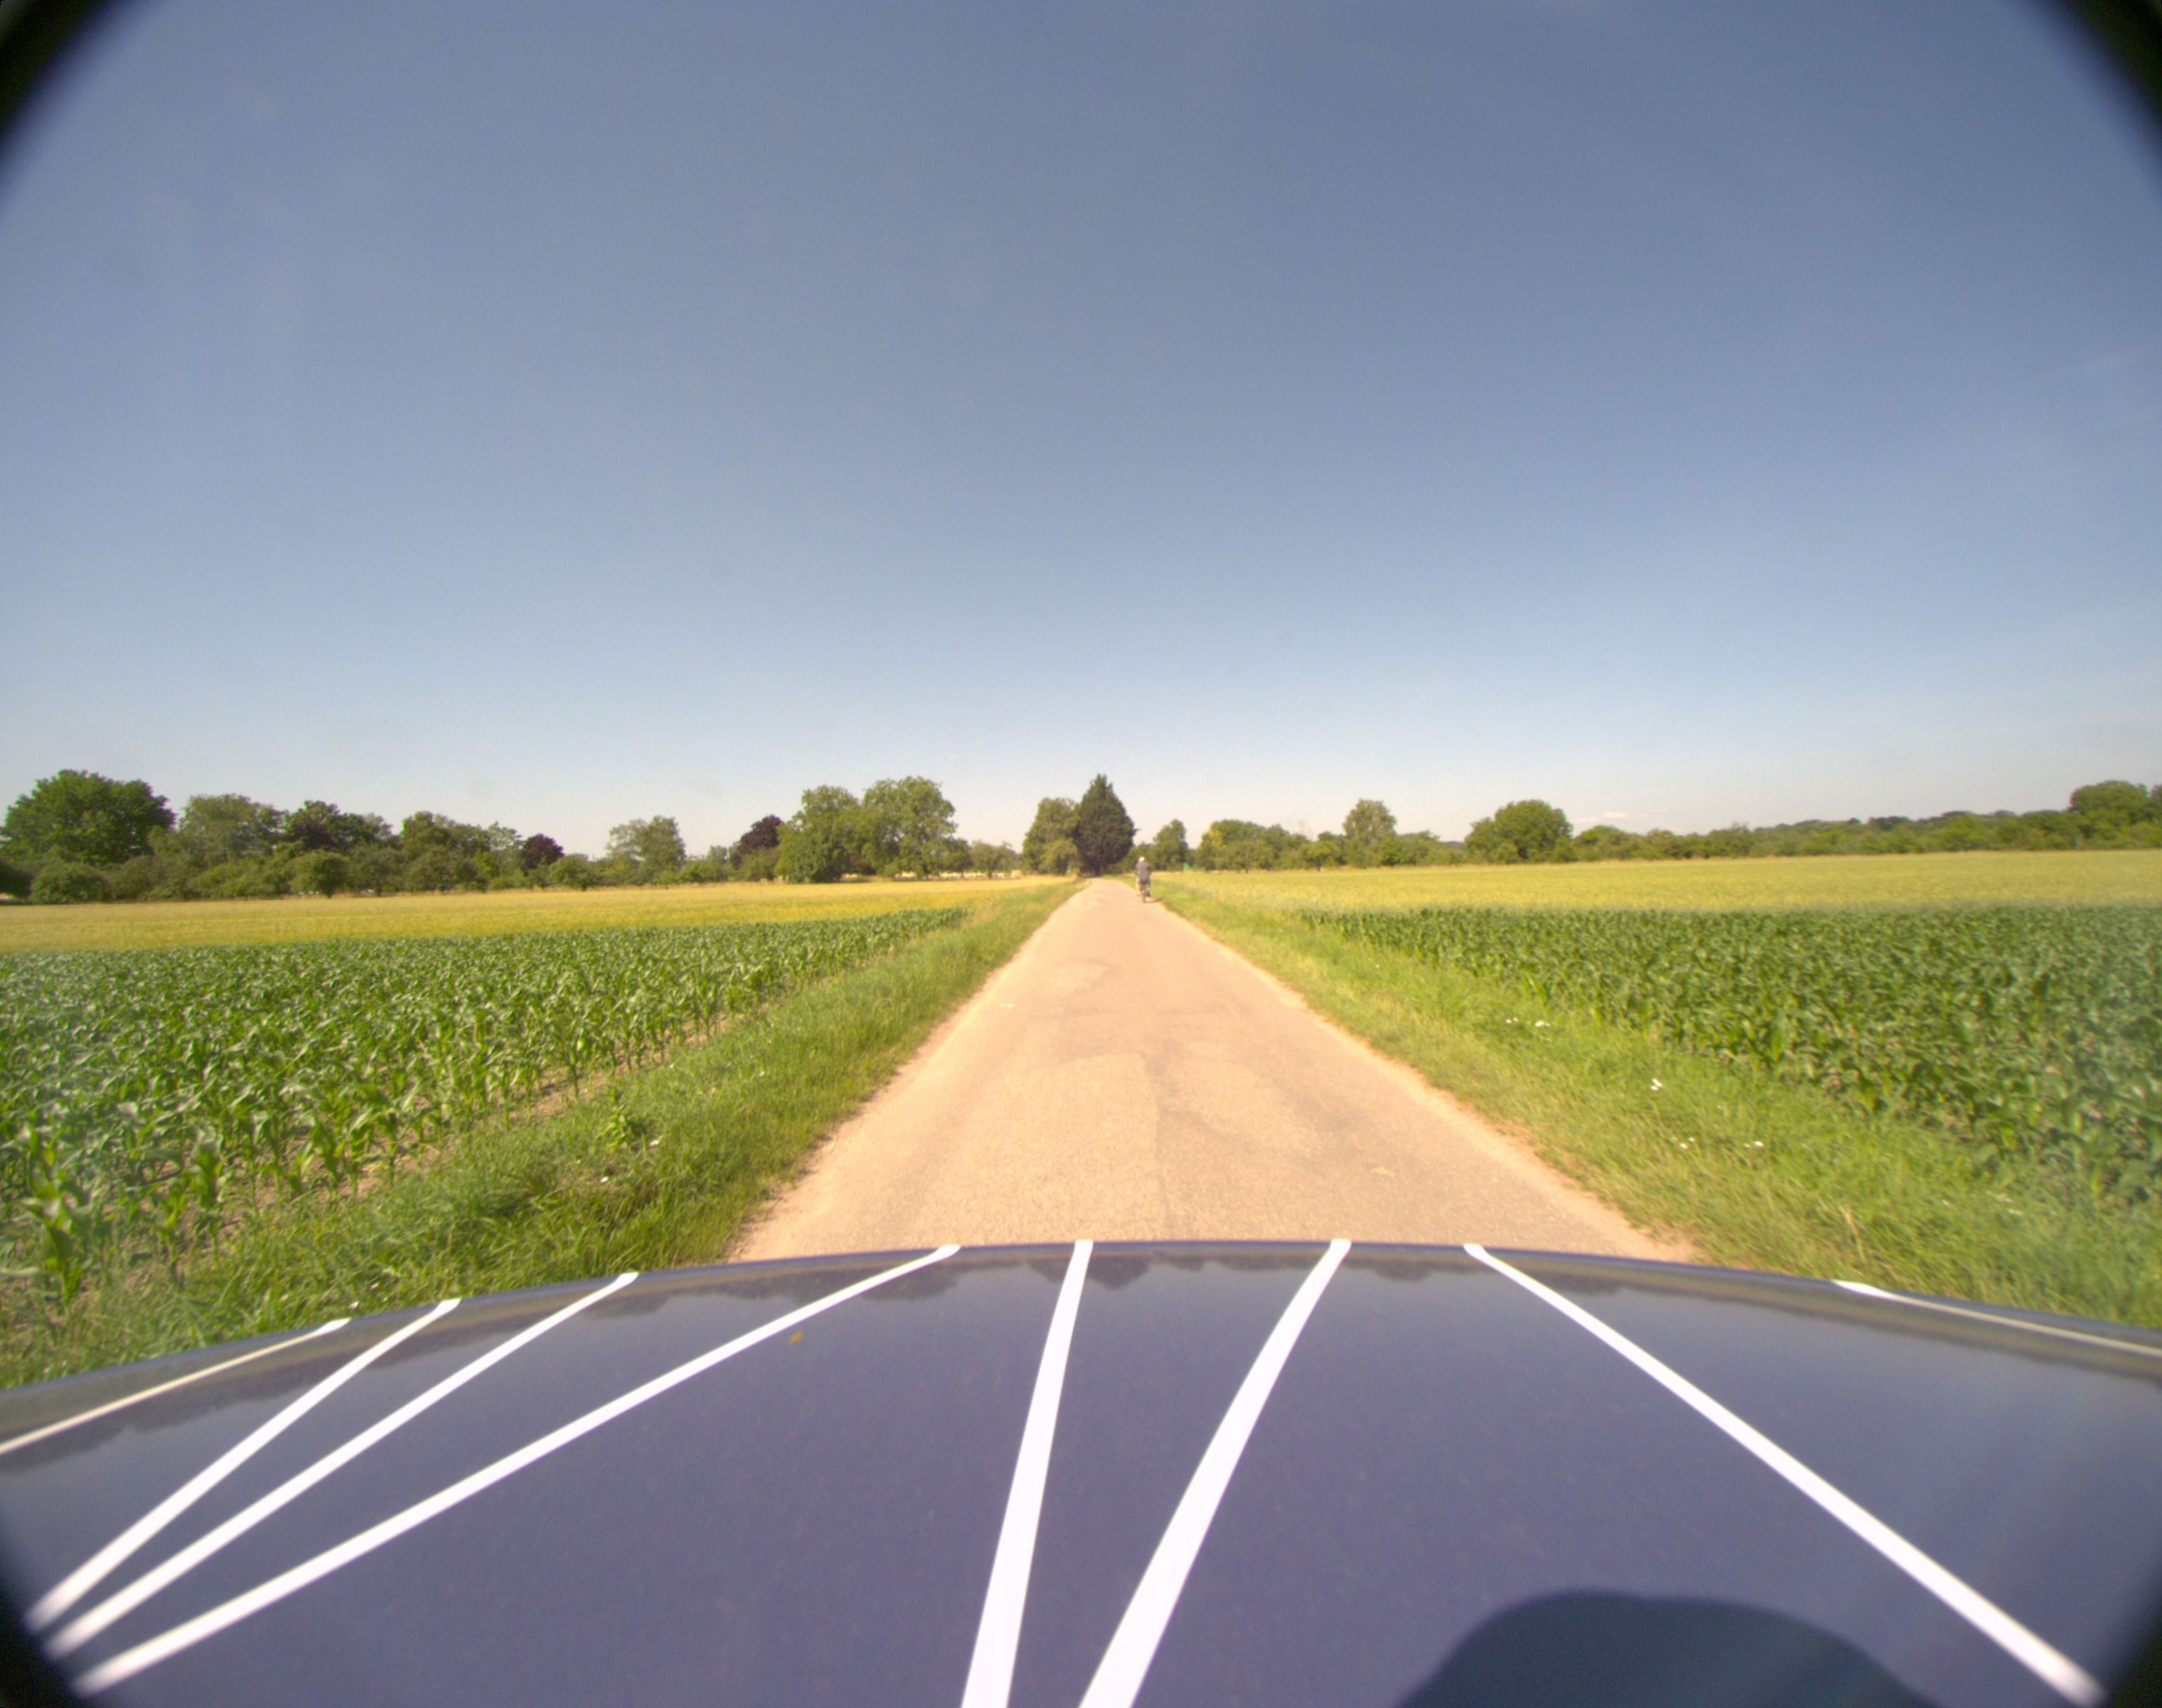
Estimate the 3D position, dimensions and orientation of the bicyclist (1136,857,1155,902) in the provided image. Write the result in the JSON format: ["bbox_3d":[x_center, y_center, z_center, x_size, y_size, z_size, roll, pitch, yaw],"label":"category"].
[{"bbox_3d":[2.576,1.010,30.458,0.752,1.781,0.717,0,0,4],"label":"bicyclist"}]

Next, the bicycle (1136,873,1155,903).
[{"bbox_3d":[2.581,1.337,30.466,0.752,1.121,1.909,0,0,4],"label":"bicycle"}]
